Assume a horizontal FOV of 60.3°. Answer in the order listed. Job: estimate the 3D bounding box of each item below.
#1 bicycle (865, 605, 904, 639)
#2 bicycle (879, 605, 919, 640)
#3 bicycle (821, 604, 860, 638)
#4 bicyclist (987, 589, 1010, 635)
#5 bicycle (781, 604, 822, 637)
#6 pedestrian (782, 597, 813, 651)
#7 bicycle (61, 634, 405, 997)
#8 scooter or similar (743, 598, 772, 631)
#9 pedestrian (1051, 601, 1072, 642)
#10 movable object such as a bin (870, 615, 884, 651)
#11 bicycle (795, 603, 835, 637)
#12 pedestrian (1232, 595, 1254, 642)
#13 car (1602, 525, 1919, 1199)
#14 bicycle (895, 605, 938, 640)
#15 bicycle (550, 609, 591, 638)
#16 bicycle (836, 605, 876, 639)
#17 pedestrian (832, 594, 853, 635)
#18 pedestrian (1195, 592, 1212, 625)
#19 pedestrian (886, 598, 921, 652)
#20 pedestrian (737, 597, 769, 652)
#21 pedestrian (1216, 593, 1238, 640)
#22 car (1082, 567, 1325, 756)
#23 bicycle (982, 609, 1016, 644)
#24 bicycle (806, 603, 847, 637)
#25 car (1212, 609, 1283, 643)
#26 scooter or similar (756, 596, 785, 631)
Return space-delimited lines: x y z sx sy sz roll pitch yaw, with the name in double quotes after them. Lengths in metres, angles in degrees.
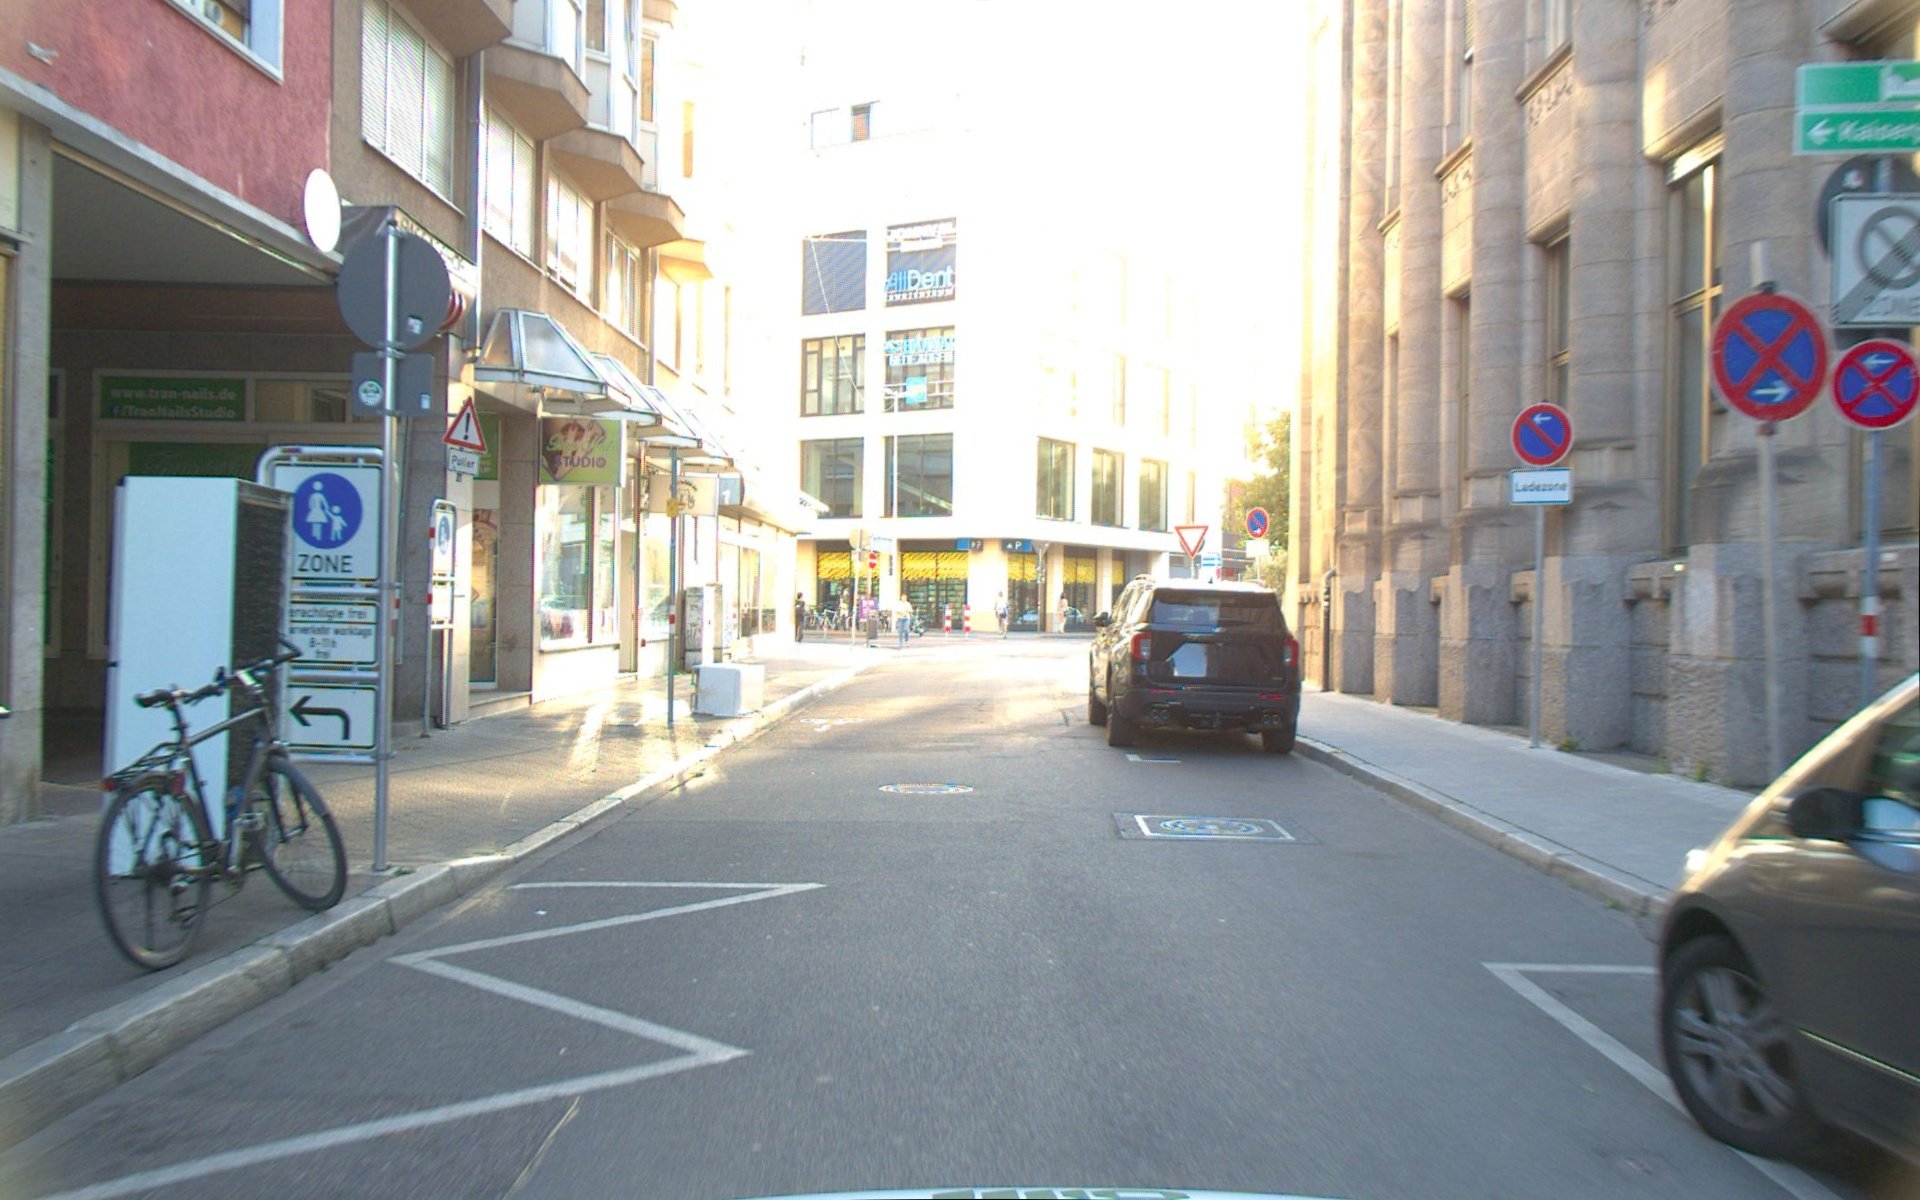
-2.862 0.845 62.894 0.502 1.277 1.976 1 -1 28 "bicycle"
-2.297 0.863 62.623 0.570 1.277 2.041 1 -1 28 "bicycle"
-4.624 0.832 64.085 0.502 1.277 1.975 1 -1 29 "bicycle"
1.470 0.457 62.929 0.671 1.725 0.641 1 0 -18 "bicyclist"
-6.232 0.816 65.090 0.502 1.277 1.975 1 -1 30 "bicycle"
-5.161 0.756 52.598 0.856 1.687 0.615 1 -1 -18 "pedestrian"
-2.826 0.765 6.648 0.532 1.212 1.842 1 0 0 "bicycle"
-7.736 0.543 63.114 0.379 1.234 1.268 1 -1 30 "scooter or similar"
4.394 0.922 71.784 0.660 1.775 0.646 0 -1 32 "pedestrian"
-2.489 0.979 49.483 0.352 1.082 0.355 1 -1 -10 "movable object such as a bin"
-5.647 0.797 64.699 0.502 1.277 1.975 1 -1 30 "bicycle"
10.282 0.666 60.171 0.688 1.699 0.642 1 1 18 "pedestrian"
3.085 0.682 3.572 1.737 1.695 3.998 1 0 -2 "car"
-1.622 0.864 62.289 0.651 1.277 2.137 1 -1 28 "bicycle"
-17.617 1.055 74.857 1.935 1.277 0.512 1 -1 30 "bicycle"
-3.981 0.837 63.657 0.502 1.277 1.975 1 -1 30 "bicycle"
-5.049 0.632 70.854 0.627 1.753 0.839 1 -1 -23 "pedestrian"
12.675 0.461 86.221 0.659 1.704 0.646 1 -1 30 "pedestrian"
-1.721 0.754 50.356 0.793 1.641 0.728 1 -1 -28 "pedestrian"
-6.175 0.729 49.439 0.716 1.641 0.805 1 -1 12 "pedestrian"
9.895 0.605 61.266 0.688 1.699 0.642 1 1 18 "pedestrian"
2.560 0.602 18.604 1.953 1.814 4.934 1 0 0 "car"
1.470 0.999 62.866 0.601 1.277 1.968 2 -1 -19 "bicycle"
-5.186 0.777 64.380 0.502 1.277 1.975 1 -1 30 "bicycle"
14.645 1.317 84.048 1.850 1.626 4.674 0 0 34 "car"
-7.198 0.525 62.893 0.379 1.282 1.268 1 -1 30 "scooter or similar"
